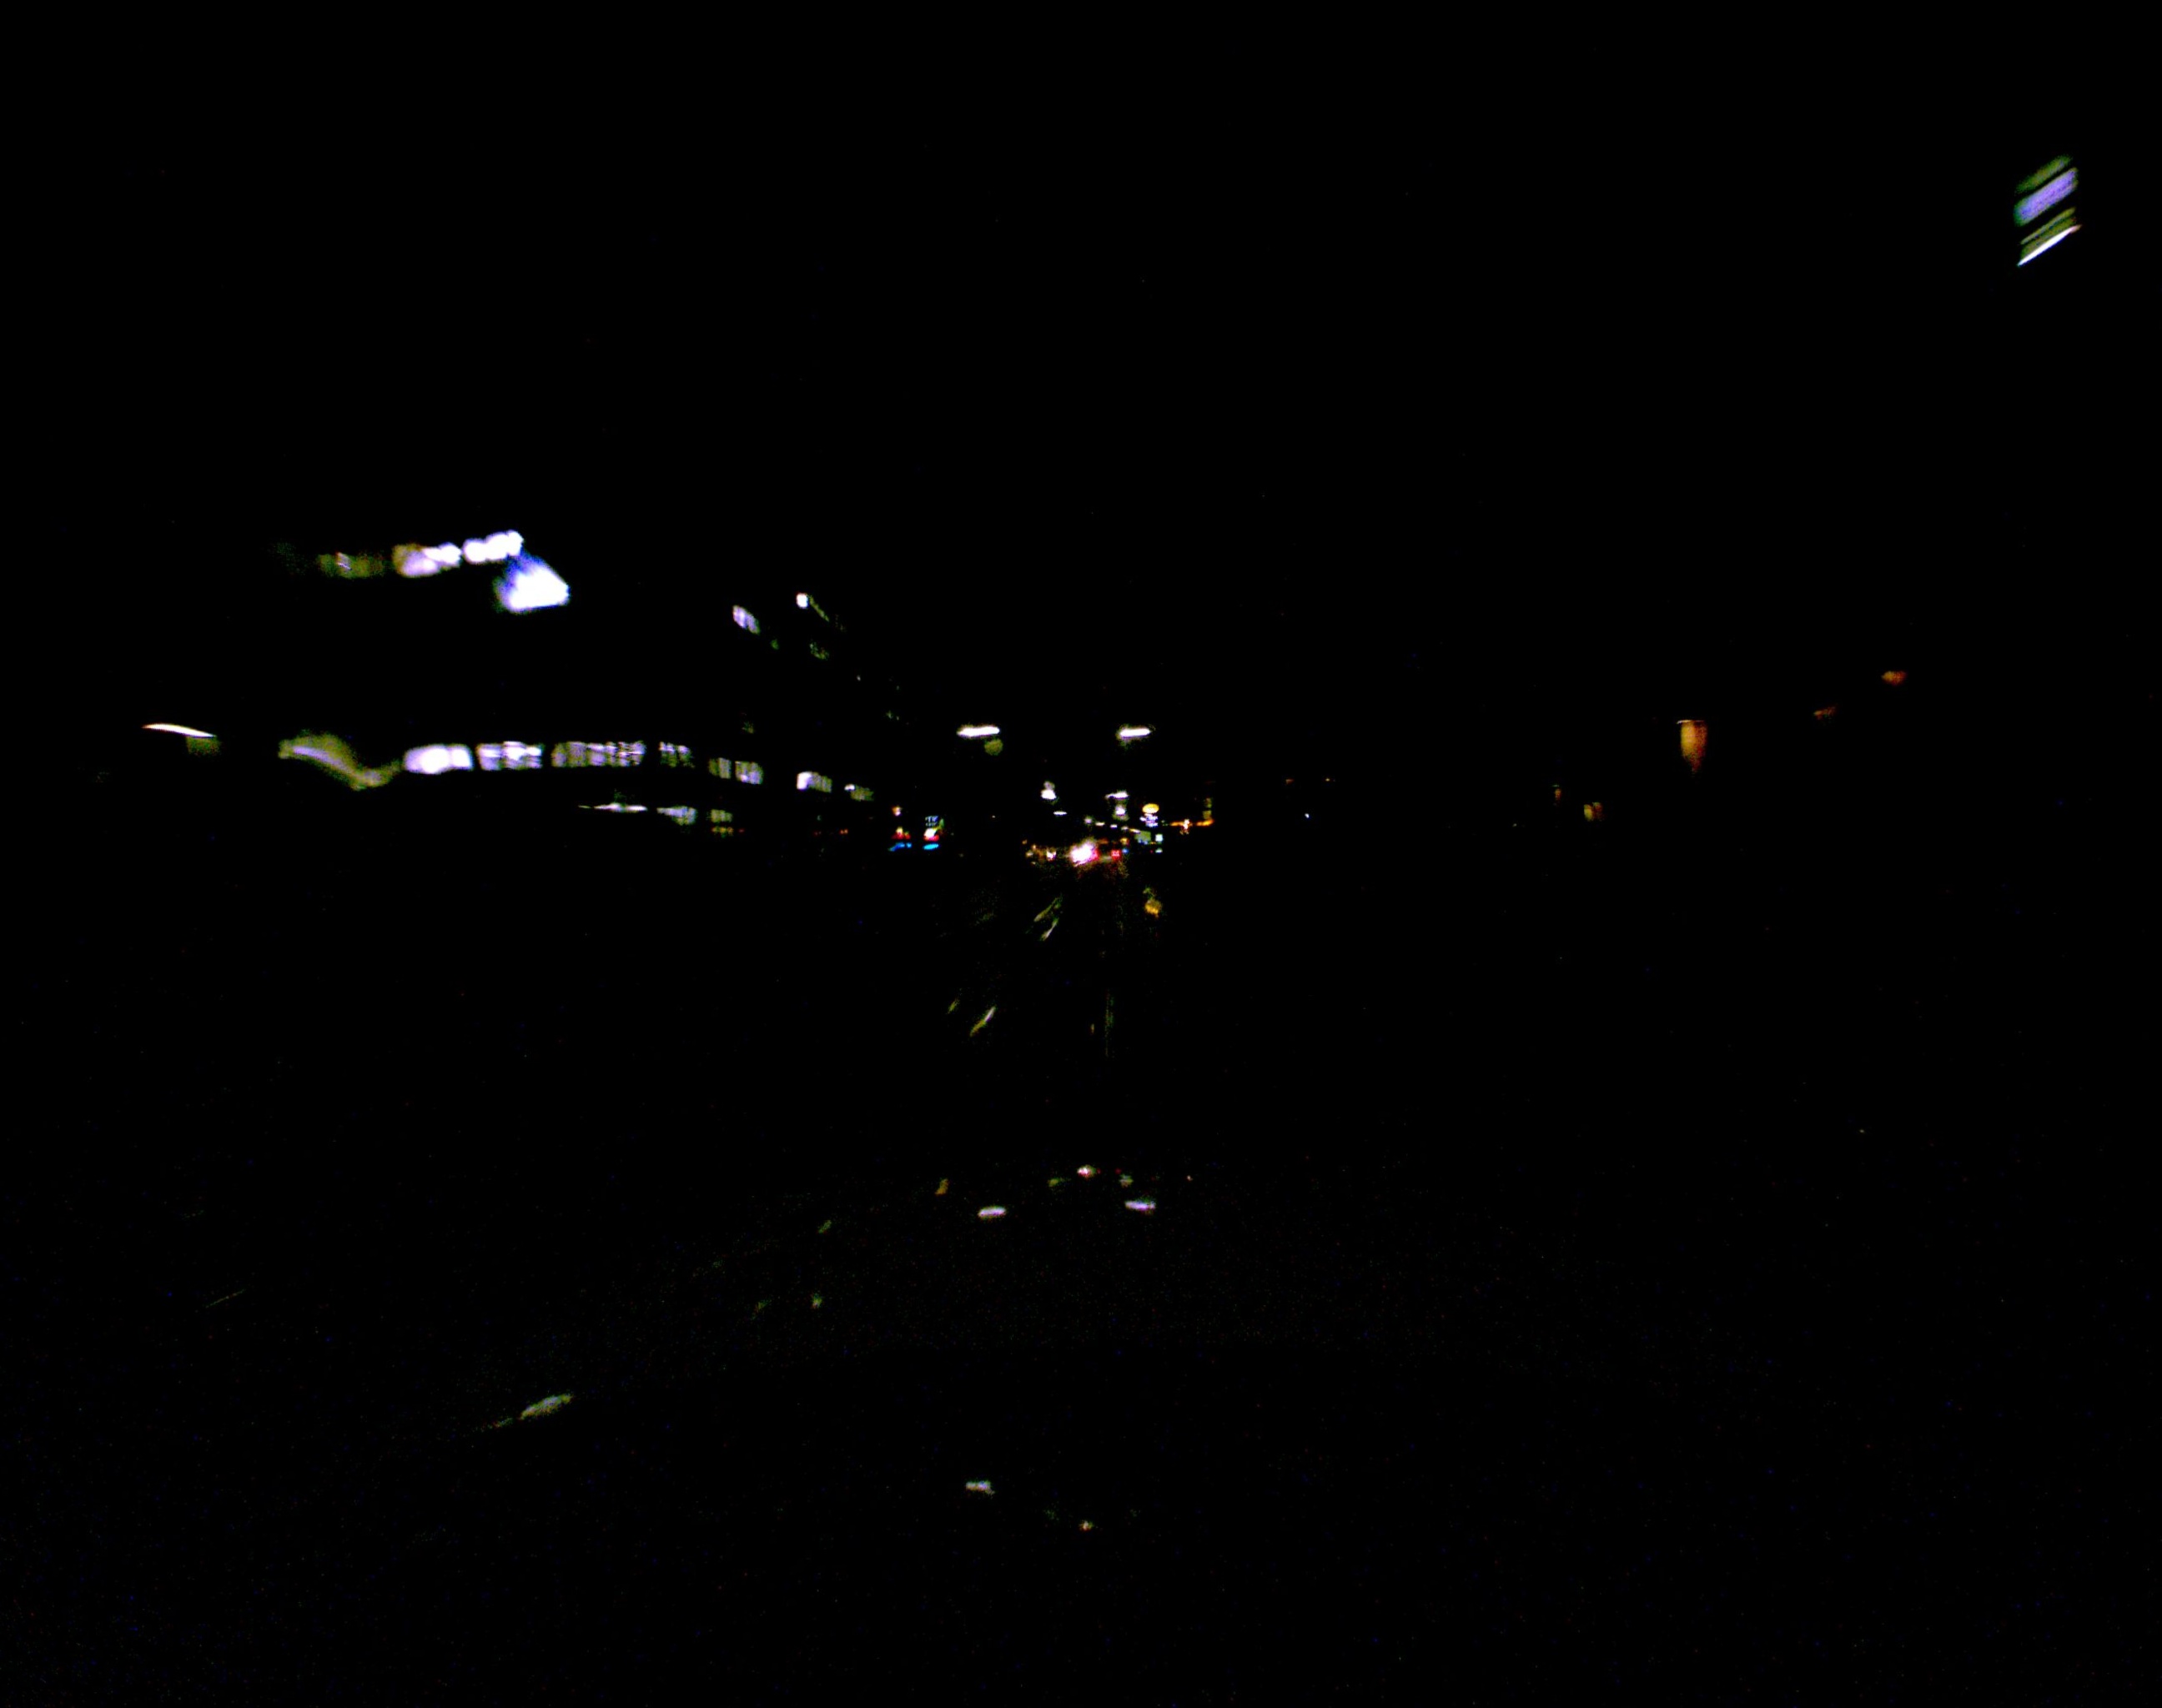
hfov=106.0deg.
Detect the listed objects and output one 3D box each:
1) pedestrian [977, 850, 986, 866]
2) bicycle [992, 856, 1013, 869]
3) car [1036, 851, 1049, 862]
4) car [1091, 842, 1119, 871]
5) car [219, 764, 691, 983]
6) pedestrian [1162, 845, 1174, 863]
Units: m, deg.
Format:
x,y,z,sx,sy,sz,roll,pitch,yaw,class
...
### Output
x,y,z,sx,sy,sz,roll,pitch,yaw,class
-10.341,0.417,84.755,0.783,1.686,0.883,-1,0,1,pedestrian
-7.208,0.777,74.631,1.847,1.077,0.628,-1,0,1,bicycle
-7.257,0.503,152.322,1.985,2.013,4.003,-1,0,3,car
1.935,0.213,67.687,2.236,2.361,4.394,-1,0,1,car
-9.019,0.203,12.917,2.175,2.591,6.399,-1,1,4,car
8.234,0.039,77.323,0.937,1.663,0.993,-3,0,-3,pedestrian
